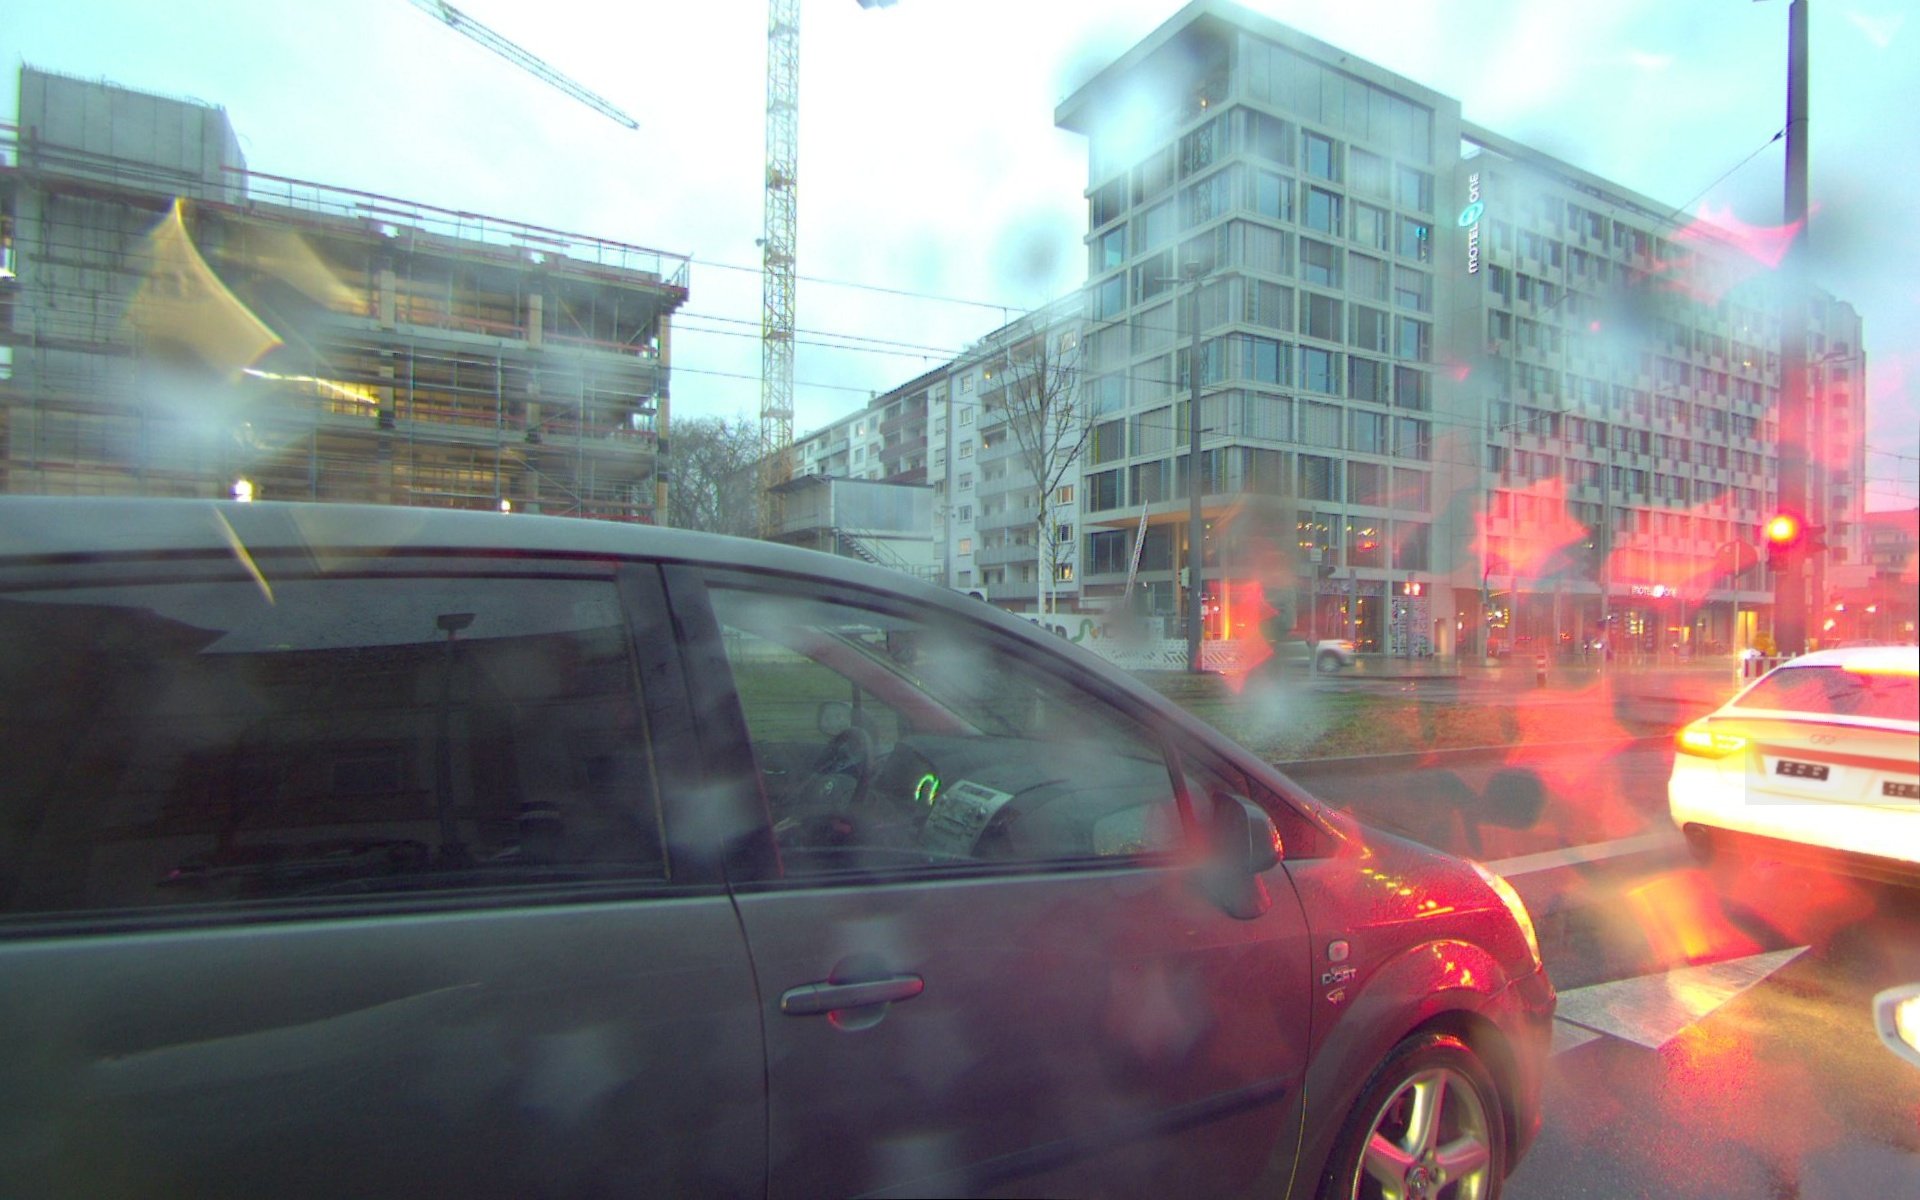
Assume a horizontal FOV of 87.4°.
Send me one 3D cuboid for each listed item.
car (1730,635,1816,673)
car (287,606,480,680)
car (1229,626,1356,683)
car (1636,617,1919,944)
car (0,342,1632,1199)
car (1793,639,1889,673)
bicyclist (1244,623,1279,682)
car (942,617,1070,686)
[{"bbox_3d":[41.981,2.766,51.869,4.542,1.813,1.873,2,0,-29],"label":"car"},{"bbox_3d":[-14.291,1.069,25.178,4.032,1.709,1.945,2,0,-27],"label":"car"},{"bbox_3d":[11.393,1.848,34.696,4.001,1.709,1.960,2,0,15],"label":"car"},{"bbox_3d":[6.079,0.909,6.079,4.205,1.489,1.750,2,0,-32],"label":"car"},{"bbox_3d":[-0.502,0.601,2.133,3.956,1.615,1.750,2,0,-32],"label":"car"},{"bbox_3d":[42.535,2.697,48.489,5.035,1.481,1.984,2,0,-30],"label":"car"},{"bbox_3d":[15.136,2.587,50.425,1.329,2.865,1.190,2,0,33],"label":"bicyclist"},{"bbox_3d":[1.519,1.728,34.117,4.009,2.151,1.956,2,0,-8],"label":"car"}]
